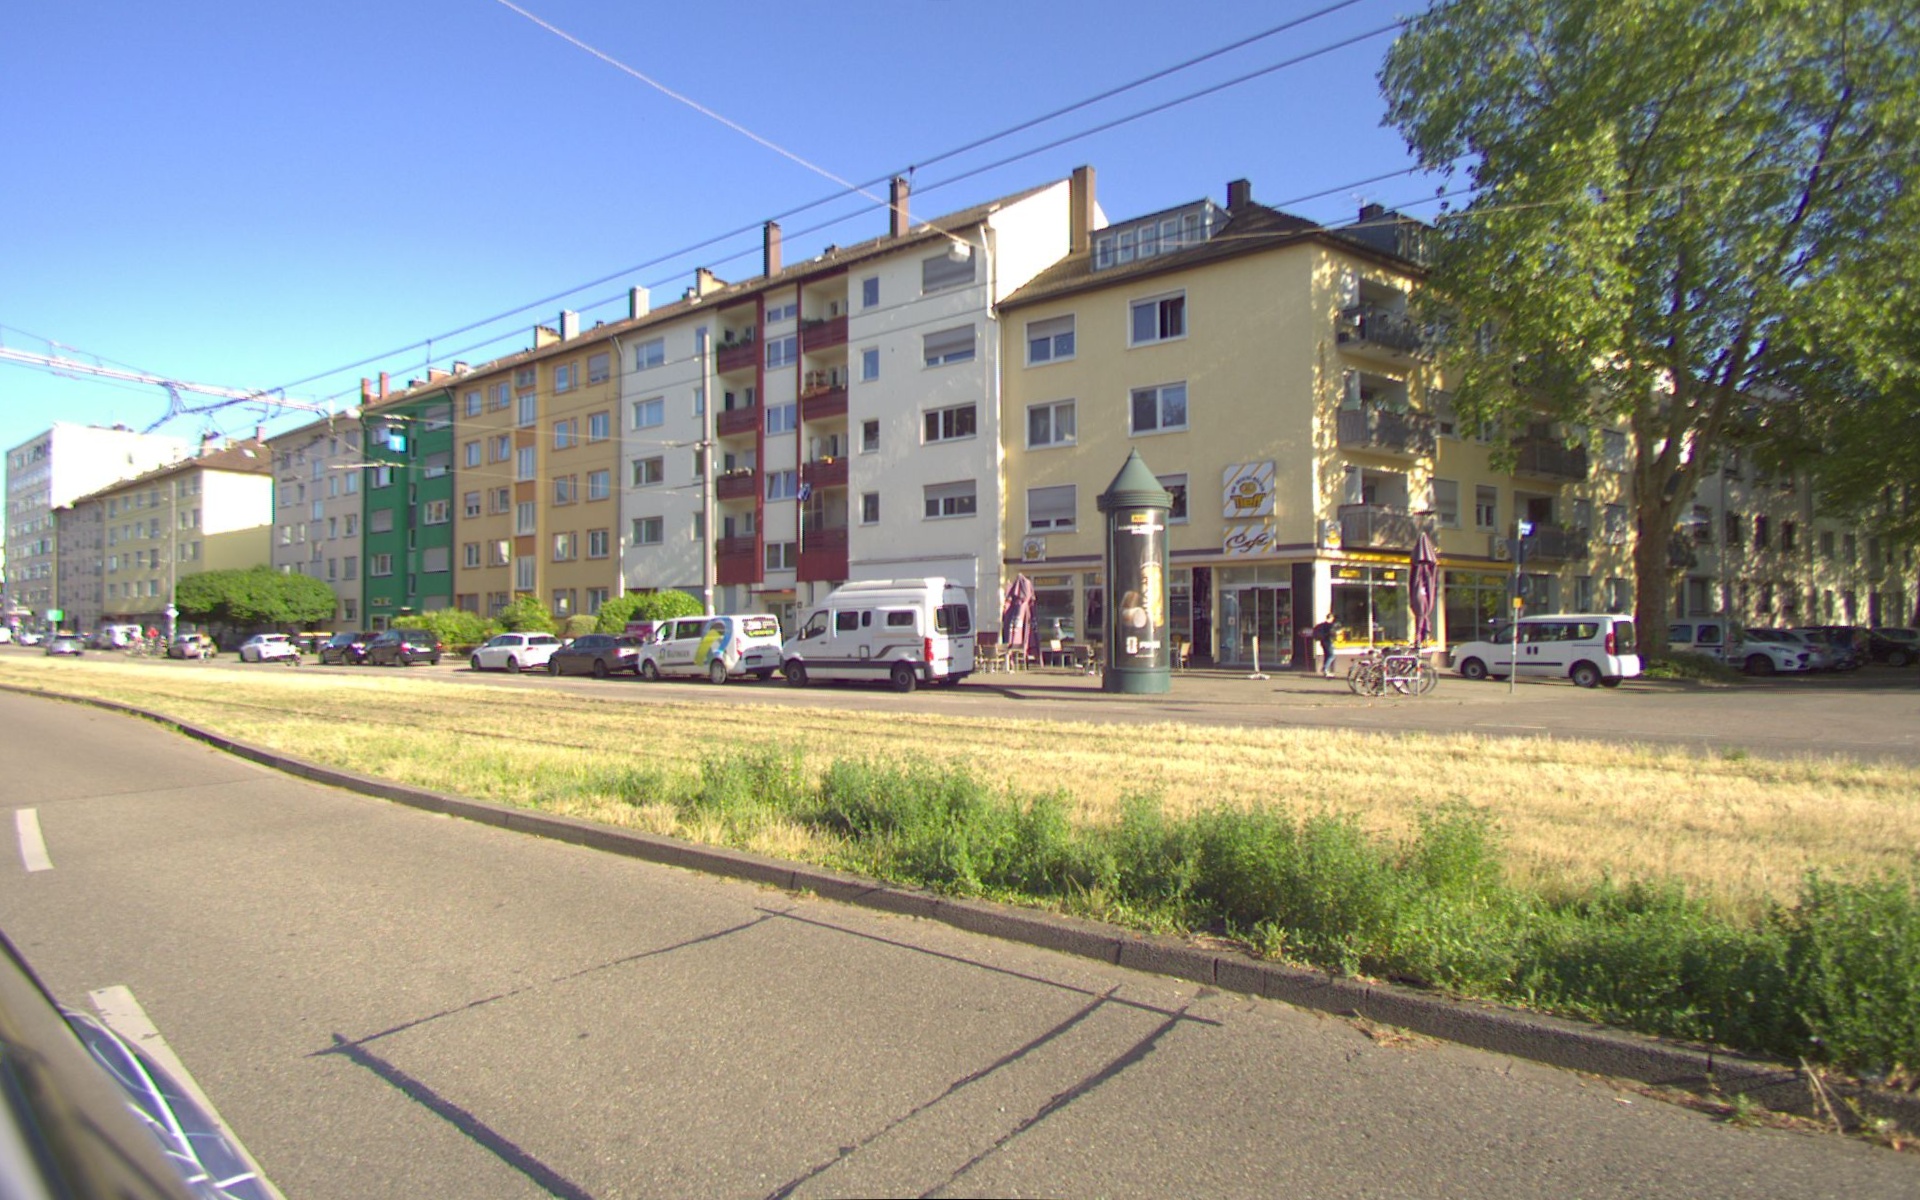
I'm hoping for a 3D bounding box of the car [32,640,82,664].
[{"bbox_3d":[-58.099,3.336,65.114,4.211,1.459,1.678,-2,-3,38],"label":"car"}]

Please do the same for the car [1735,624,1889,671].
[{"bbox_3d":[31.750,1.764,37.823,1.850,1.626,4.011,3,-2,-33],"label":"car"}]

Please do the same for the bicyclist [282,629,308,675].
[{"bbox_3d":[-30.260,2.360,46.022,0.647,2.029,0.766,-2,0,37],"label":"bicyclist"}]

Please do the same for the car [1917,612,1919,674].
[{"bbox_3d":[24.242,1.069,23.738,3.933,1.613,1.754,1,-3,-34],"label":"car"}]

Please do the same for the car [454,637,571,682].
[{"bbox_3d":[-16.874,2.209,38.063,4.693,1.503,1.876,-2,0,36],"label":"car"}]

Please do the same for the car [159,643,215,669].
[{"bbox_3d":[-46.789,3.386,61.229,3.726,1.453,1.621,-2,0,35],"label":"car"}]

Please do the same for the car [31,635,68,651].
[{"bbox_3d":[-90.251,4.245,100.264,4.405,1.395,1.768,-2,0,35],"label":"car"}]

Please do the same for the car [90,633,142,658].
[{"bbox_3d":[-72.425,3.863,86.793,5.487,1.964,1.977,-2,0,35],"label":"car"}]

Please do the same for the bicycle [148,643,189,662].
[{"bbox_3d":[-51.918,3.445,66.423,2.019,1.101,0.617,-2,0,-26],"label":"bicycle"}]

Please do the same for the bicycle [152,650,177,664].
[{"bbox_3d":[-51.525,3.723,65.554,2.043,0.872,0.374,-2,0,26],"label":"bicycle"}]

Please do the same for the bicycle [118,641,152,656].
[{"bbox_3d":[-68.948,4.007,84.588,0.472,1.114,2.078,-2,0,37],"label":"bicycle"}]

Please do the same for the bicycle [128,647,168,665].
[{"bbox_3d":[-55.119,3.794,68.706,0.615,1.101,2.026,-2,0,43],"label":"bicycle"}]

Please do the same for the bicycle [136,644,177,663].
[{"bbox_3d":[-53.110,3.523,66.936,0.615,1.101,2.026,-2,0,43],"label":"bicycle"}]

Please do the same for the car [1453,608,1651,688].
[{"bbox_3d":[15.429,1.197,26.545,1.968,1.840,4.008,-2,0,-38],"label":"car"}]

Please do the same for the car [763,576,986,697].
[{"bbox_3d":[-2.415,0.953,26.951,6.220,2.890,2.012,-2,-1,39],"label":"car"}]

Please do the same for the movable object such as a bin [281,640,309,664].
[{"bbox_3d":[-40.682,3.188,61.892,1.038,1.378,1.135,-1,1,40],"label":"movable object such as a bin"}]

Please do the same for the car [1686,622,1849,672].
[{"bbox_3d":[27.756,1.590,34.895,1.850,1.582,4.011,3,-2,-33],"label":"car"}]

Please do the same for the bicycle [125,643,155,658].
[{"bbox_3d":[-67.525,4.137,83.354,0.390,1.114,1.802,-2,0,37],"label":"bicycle"}]

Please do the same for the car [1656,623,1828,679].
[{"bbox_3d":[25.709,1.638,33.403,1.966,1.677,4.072,2,-2,-33],"label":"car"}]

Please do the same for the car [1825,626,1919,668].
[{"bbox_3d":[38.665,1.922,41.798,1.966,1.677,4.072,2,-2,-33],"label":"car"}]

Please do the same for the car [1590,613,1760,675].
[{"bbox_3d":[22.817,1.383,32.436,1.966,1.857,4.011,3,-2,-33],"label":"car"}]

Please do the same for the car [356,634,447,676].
[{"bbox_3d":[-24.330,2.366,44.044,4.144,1.620,1.975,-2,0,38],"label":"car"}]

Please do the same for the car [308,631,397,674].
[{"bbox_3d":[-28.263,2.409,47.023,4.602,1.851,1.975,-2,0,38],"label":"car"}]

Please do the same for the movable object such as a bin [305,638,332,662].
[{"bbox_3d":[-39.901,3.096,62.910,1.038,1.378,1.135,-1,1,40],"label":"movable object such as a bin"}]

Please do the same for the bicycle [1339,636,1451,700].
[{"bbox_3d":[9.049,1.414,21.095,2.063,1.261,0.519,-1,0,4],"label":"bicycle"}]

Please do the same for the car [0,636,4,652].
[{"bbox_3d":[-114.499,5.242,119.114,4.660,1.912,1.976,-2,0,35],"label":"car"}]

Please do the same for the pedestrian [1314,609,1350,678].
[{"bbox_3d":[10.091,1.173,27.431,0.835,1.798,0.682,-2,0,24],"label":"pedestrian"}]

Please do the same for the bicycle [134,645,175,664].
[{"bbox_3d":[-53.675,3.610,67.454,0.615,1.101,2.026,-2,0,43],"label":"bicycle"}]

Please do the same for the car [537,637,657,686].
[{"bbox_3d":[-12.452,2.061,34.611,4.316,1.526,1.680,-2,-1,35],"label":"car"}]

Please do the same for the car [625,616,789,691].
[{"bbox_3d":[-7.851,1.602,31.161,5.363,2.036,2.013,-2,0,39],"label":"car"}]

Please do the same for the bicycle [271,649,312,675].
[{"bbox_3d":[-30.307,2.803,45.867,2.471,1.155,0.761,-2,-4,38],"label":"bicycle"}]

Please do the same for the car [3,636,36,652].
[{"bbox_3d":[-97.529,4.546,104.933,4.193,1.497,1.742,-2,0,37],"label":"car"}]

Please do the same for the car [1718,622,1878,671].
[{"bbox_3d":[29.732,1.618,36.004,1.850,1.626,4.011,3,-2,-33],"label":"car"}]

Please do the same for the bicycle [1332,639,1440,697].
[{"bbox_3d":[9.105,1.449,21.650,2.063,1.193,0.519,0,0,4],"label":"bicycle"}]

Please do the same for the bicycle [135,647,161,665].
[{"bbox_3d":[-51.911,3.607,64.730,1.925,1.101,0.506,-2,0,26],"label":"bicycle"}]

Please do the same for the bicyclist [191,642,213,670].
[{"bbox_3d":[-38.944,2.880,52.008,0.647,1.394,0.765,-2,-3,37],"label":"bicyclist"}]

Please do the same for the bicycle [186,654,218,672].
[{"bbox_3d":[-38.960,3.233,52.010,2.066,0.886,0.761,-2,-4,38],"label":"bicycle"}]

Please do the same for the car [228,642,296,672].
[{"bbox_3d":[-36.753,2.991,53.287,4.369,1.465,1.712,-2,-1,38],"label":"car"}]

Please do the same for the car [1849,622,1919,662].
[{"bbox_3d":[41.389,1.823,43.747,1.966,1.677,4.072,2,-2,-33],"label":"car"}]
